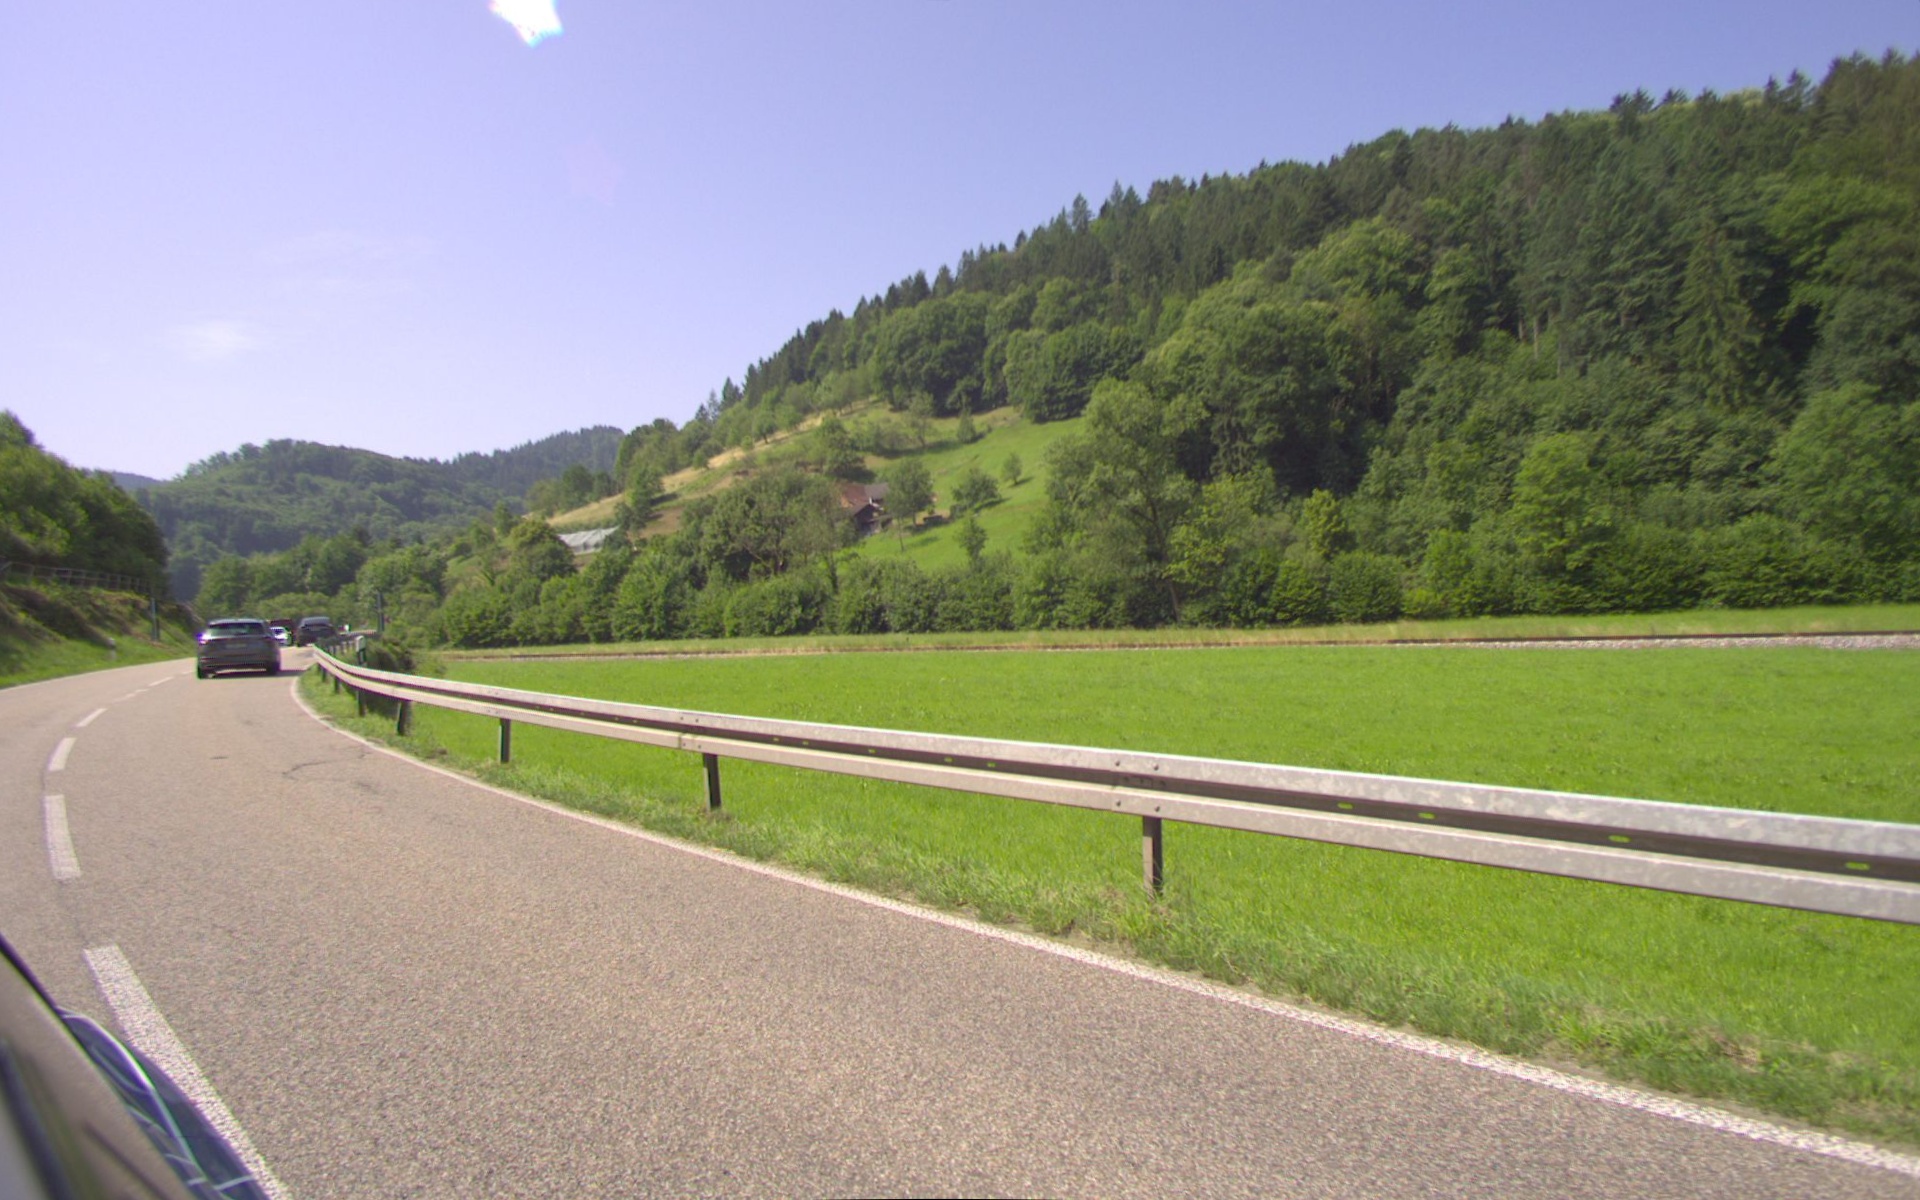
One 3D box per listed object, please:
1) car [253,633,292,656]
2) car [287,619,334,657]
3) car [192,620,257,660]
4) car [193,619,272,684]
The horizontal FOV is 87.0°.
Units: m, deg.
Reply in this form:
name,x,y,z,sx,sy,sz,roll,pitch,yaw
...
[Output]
name,x,y,z,sx,sy,sz,roll,pitch,yaw
car,-47.706,3.085,70.327,2.111,1.502,4.685,1,-2,-33
car,-38.260,2.200,59.706,1.965,2.029,4.013,-1,0,-28
car,-38.290,2.049,52.806,2.083,1.828,4.469,-3,0,-29
car,-20.481,1.404,28.545,1.685,1.688,4.009,1,-2,-35
